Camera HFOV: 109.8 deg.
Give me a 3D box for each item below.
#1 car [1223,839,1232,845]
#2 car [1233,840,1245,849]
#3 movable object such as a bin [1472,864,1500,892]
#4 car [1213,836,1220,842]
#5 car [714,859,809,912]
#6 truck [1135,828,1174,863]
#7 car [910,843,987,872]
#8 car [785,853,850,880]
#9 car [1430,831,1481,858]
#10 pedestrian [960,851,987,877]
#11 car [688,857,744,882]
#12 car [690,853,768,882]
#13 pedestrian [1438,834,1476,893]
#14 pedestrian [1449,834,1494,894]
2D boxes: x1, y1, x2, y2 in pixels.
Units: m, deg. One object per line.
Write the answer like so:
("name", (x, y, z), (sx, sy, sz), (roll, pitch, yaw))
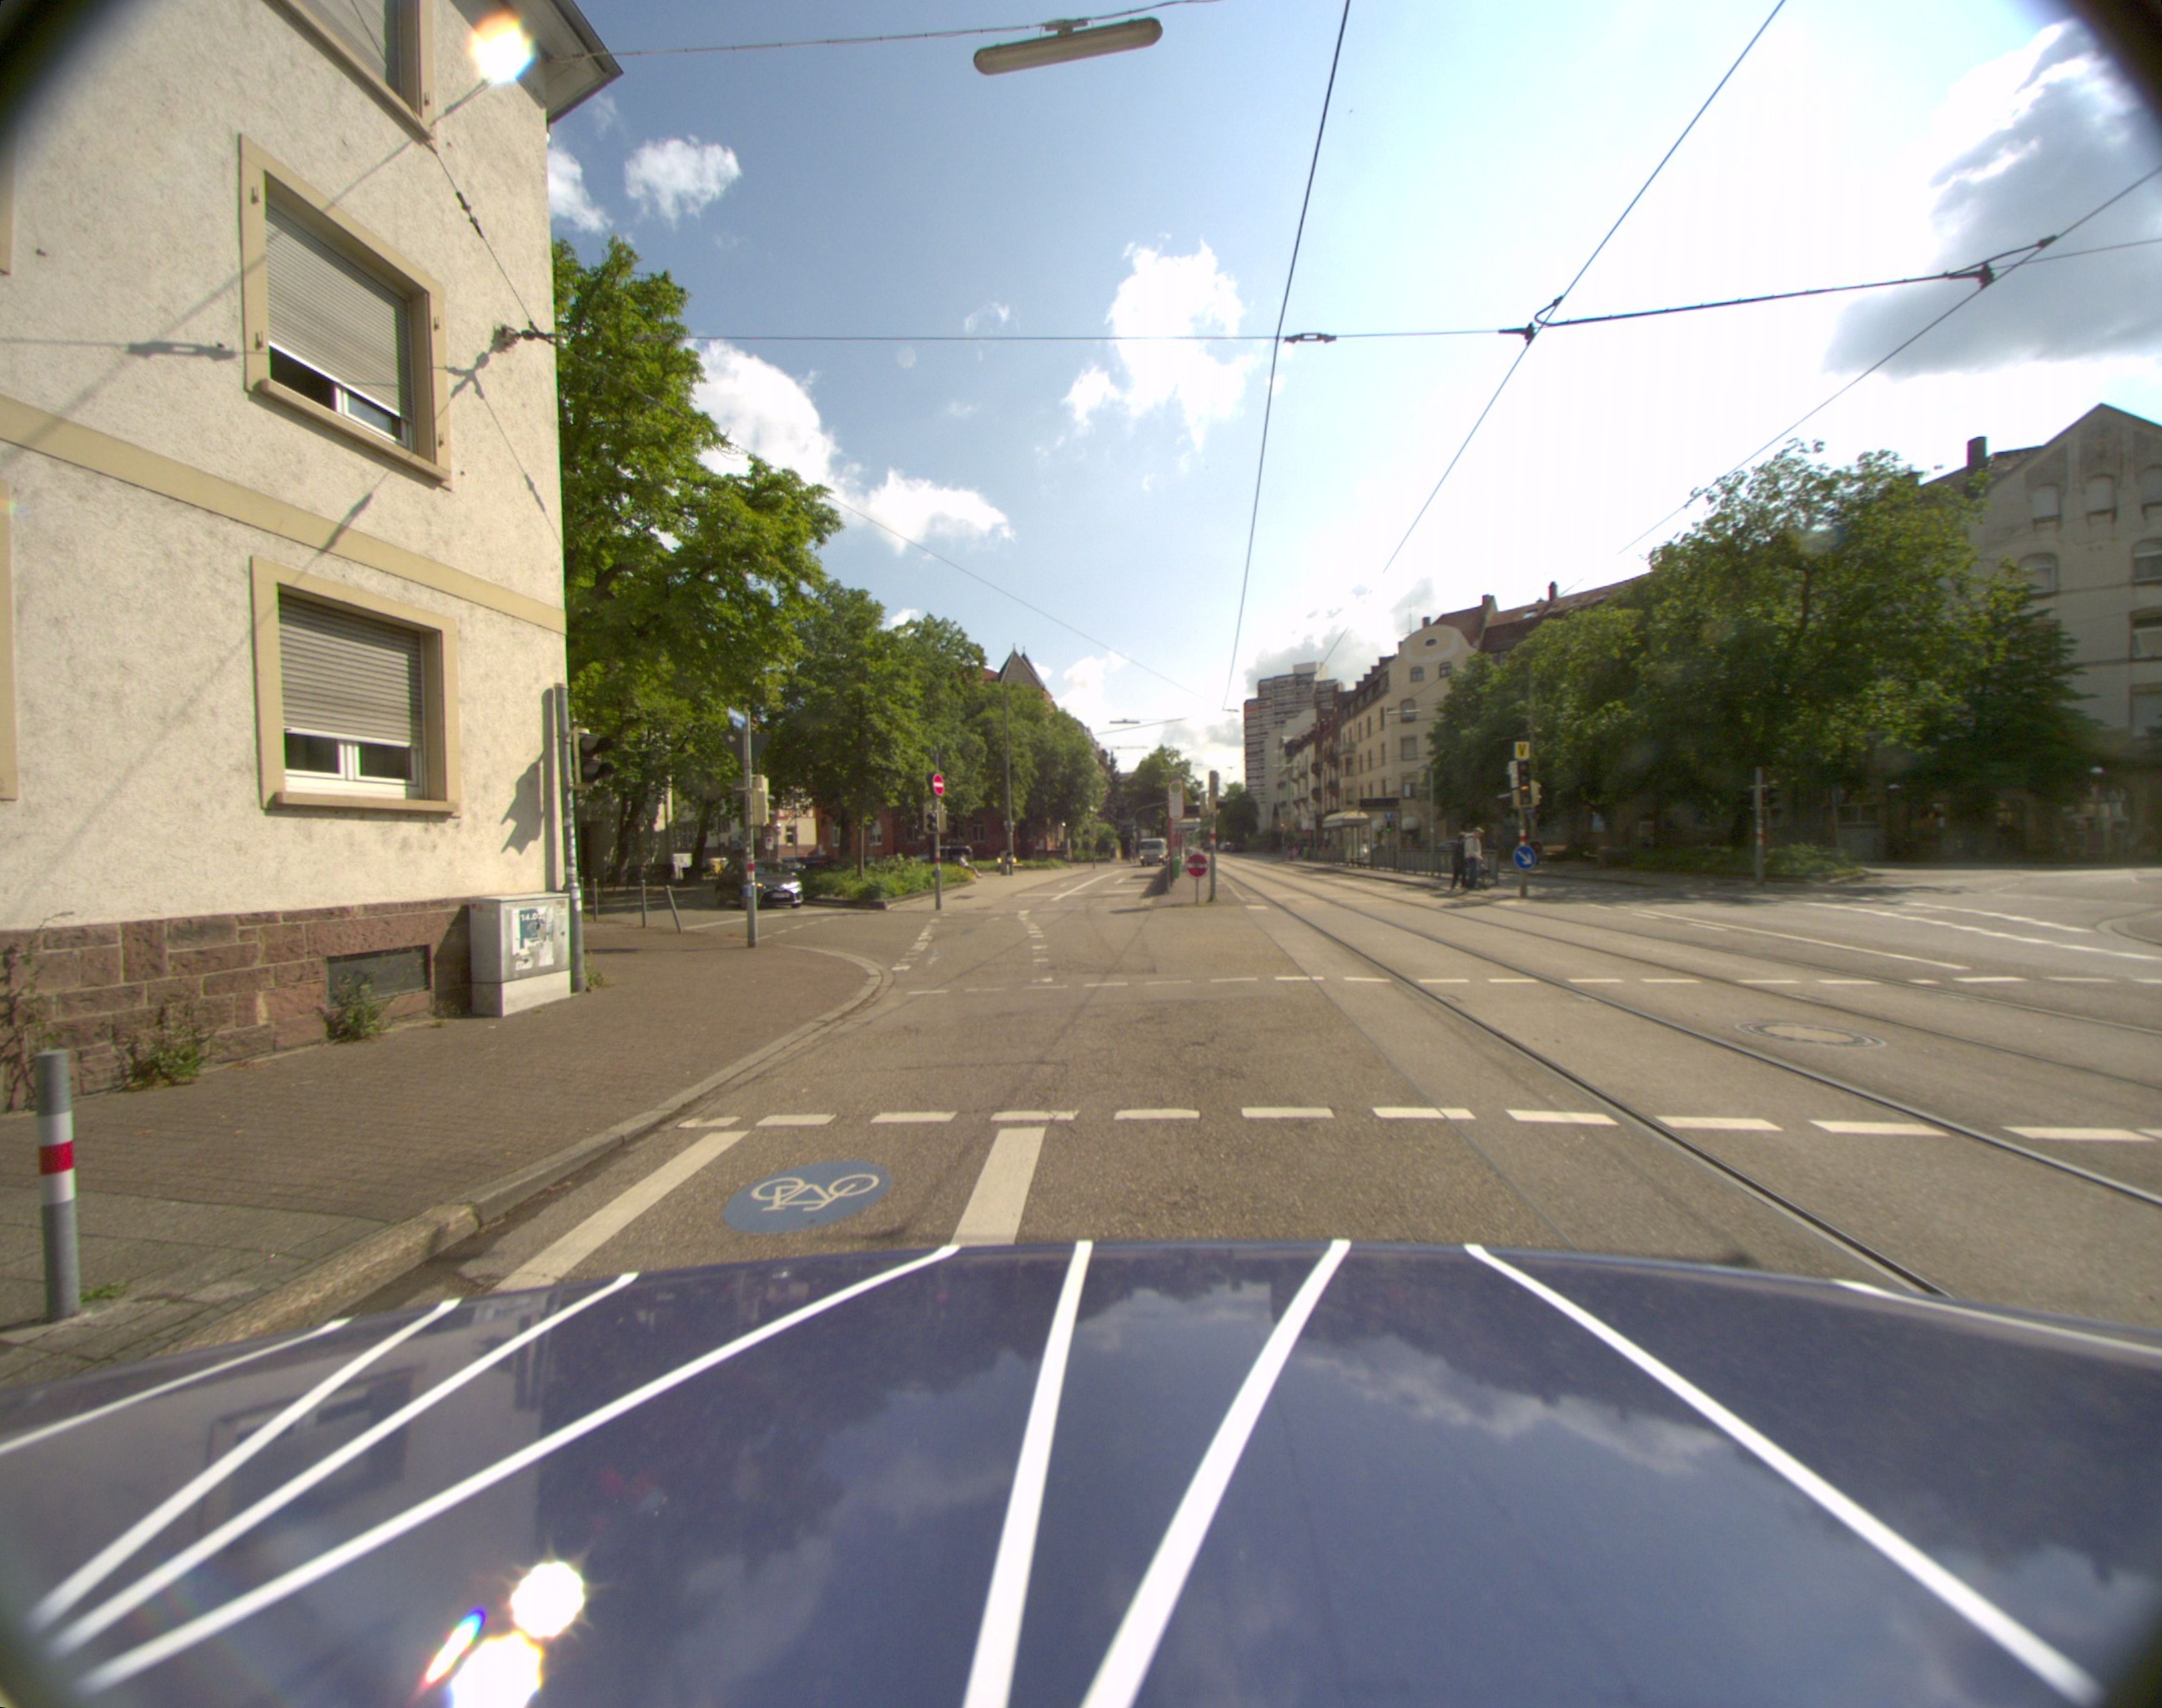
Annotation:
("car", (37.038, -2.956, 192.107), (1.840, 1.482, 3.893), (-2, 1, 7))
("car", (28.336, -1.752, 136.398), (1.840, 1.482, 3.893), (-2, 1, 7))
("movable object such as a bin", (11.063, 0.649, 20.768), (0.512, 0.713, 0.457), (-2, 1, -6))
("car", (41.852, -4.562, 234.086), (1.840, 1.799, 3.893), (-2, 1, 7))
("car", (-9.921, 0.913, 23.479), (1.633, 1.482, 3.721), (0, 0, -41))
("truck", (6.263, -0.711, 63.684), (2.529, 2.722, 6.520), (-1, 1, 11))
("car", (-9.897, 0.216, 57.192), (2.277, 2.002, 5.299), (-1, 1, 44))
("car", (-22.859, 1.082, 65.822), (5.220, 2.256, 2.288), (-1, 1, 27))
("car", (29.234, -0.734, 59.344), (3.419, 1.842, 1.615), (-3, 1, 27))
("pedestrian", (-5.281, 0.483, 37.413), (1.159, 1.195, 0.906), (2, 1, 0))
("car", (-34.972, 1.507, 72.762), (5.220, 2.256, 2.288), (-1, 1, 30))
("car", (-21.740, 0.821, 47.021), (3.996, 1.543, 1.650), (-4, 1, 2))
("pedestrian", (10.316, 0.249, 20.873), (0.715, 1.565, 0.585), (-2, 1, -6))
("pedestrian", (10.376, 0.256, 20.193), (0.782, 1.565, 0.693), (-2, 1, -6))
